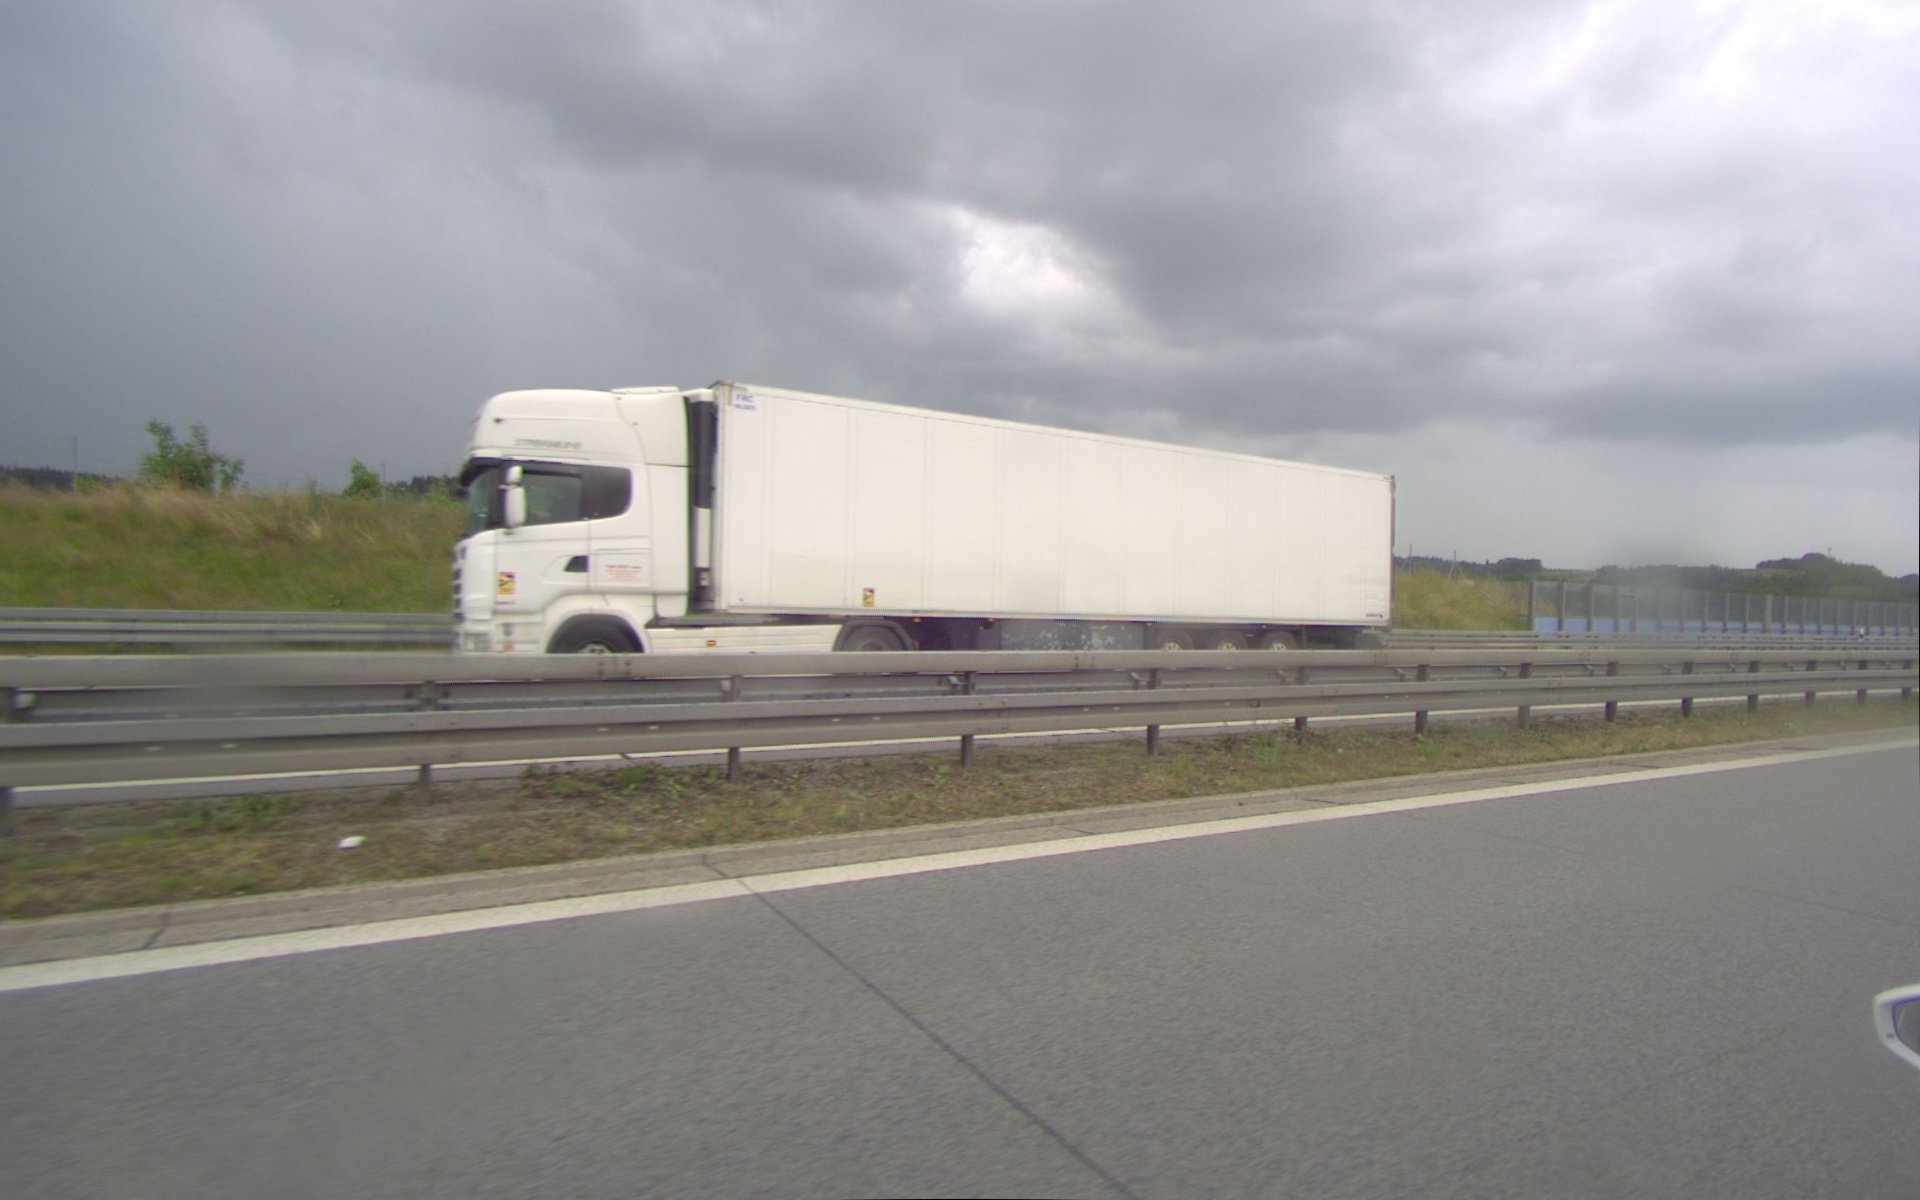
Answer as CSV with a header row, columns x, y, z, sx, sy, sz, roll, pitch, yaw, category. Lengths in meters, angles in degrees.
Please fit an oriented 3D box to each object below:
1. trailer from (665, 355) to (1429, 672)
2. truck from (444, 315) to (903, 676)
x,y,z,sx,sy,sz,roll,pitch,yaw,category
2.377,-0.954,17.447,14.106,3.978,2.903,1,0,-30,trailer
-3.904,-1.112,13.738,5.453,3.978,2.938,1,0,-30,truck
